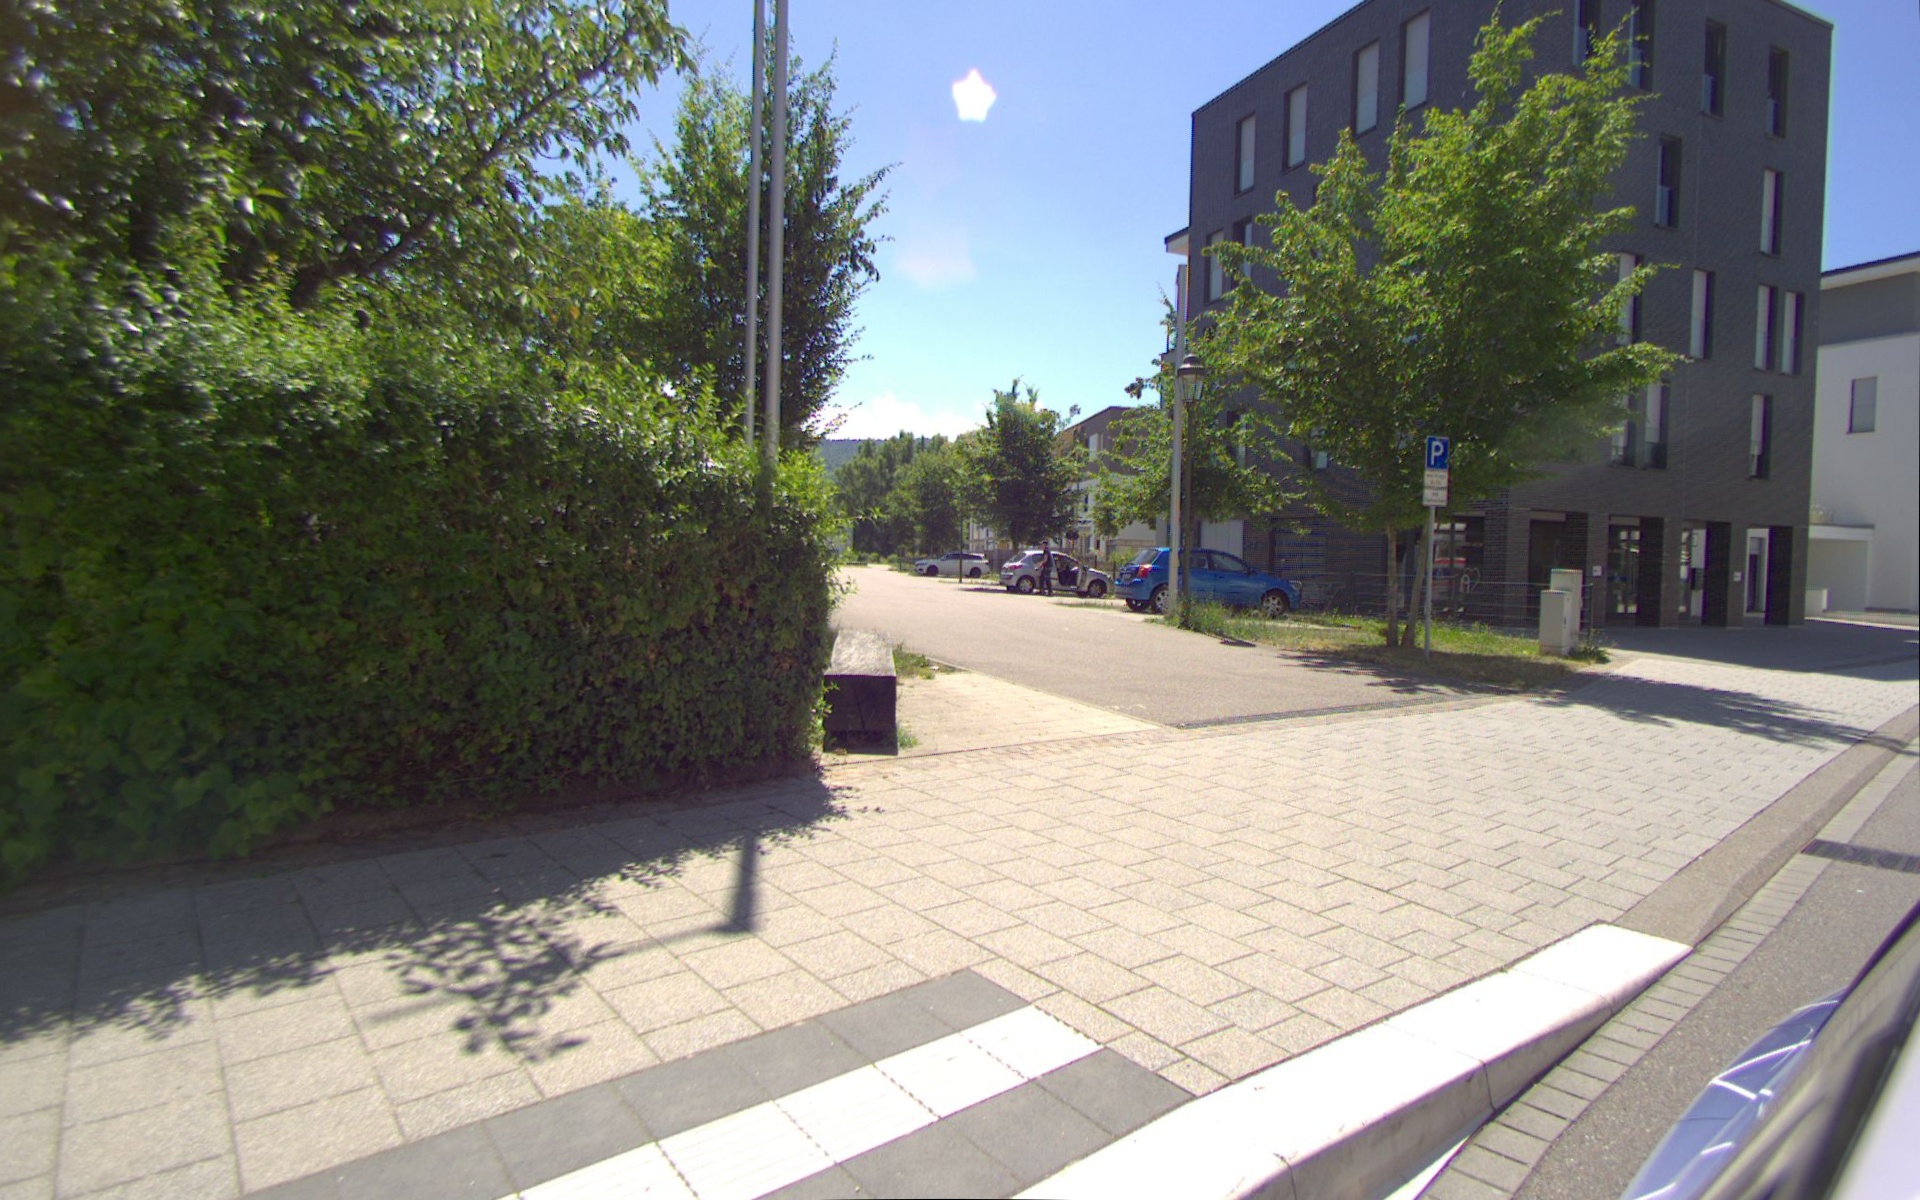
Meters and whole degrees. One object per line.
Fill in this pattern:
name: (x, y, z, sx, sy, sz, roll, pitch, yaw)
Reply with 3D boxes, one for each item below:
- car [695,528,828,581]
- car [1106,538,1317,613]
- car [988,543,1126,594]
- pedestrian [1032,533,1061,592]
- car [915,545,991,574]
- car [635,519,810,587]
car: (-6.144, -1.422, 31.522, 3.918, 1.458, 1.880, 2, 3, -9)
car: (5.525, -0.566, 22.442, 4.086, 1.458, 1.821, 2, 3, -11)
car: (3.145, -1.030, 33.128, 4.086, 1.458, 1.821, 2, 3, -11)
pedestrian: (2.703, -1.187, 31.653, 0.684, 1.812, 0.638, 2, 3, -14)
car: (-0.443, -2.373, 59.275, 4.085, 1.458, 1.822, 2, 3, -15)
car: (-5.640, -1.135, 24.473, 3.918, 1.458, 1.880, 2, 3, -7)
